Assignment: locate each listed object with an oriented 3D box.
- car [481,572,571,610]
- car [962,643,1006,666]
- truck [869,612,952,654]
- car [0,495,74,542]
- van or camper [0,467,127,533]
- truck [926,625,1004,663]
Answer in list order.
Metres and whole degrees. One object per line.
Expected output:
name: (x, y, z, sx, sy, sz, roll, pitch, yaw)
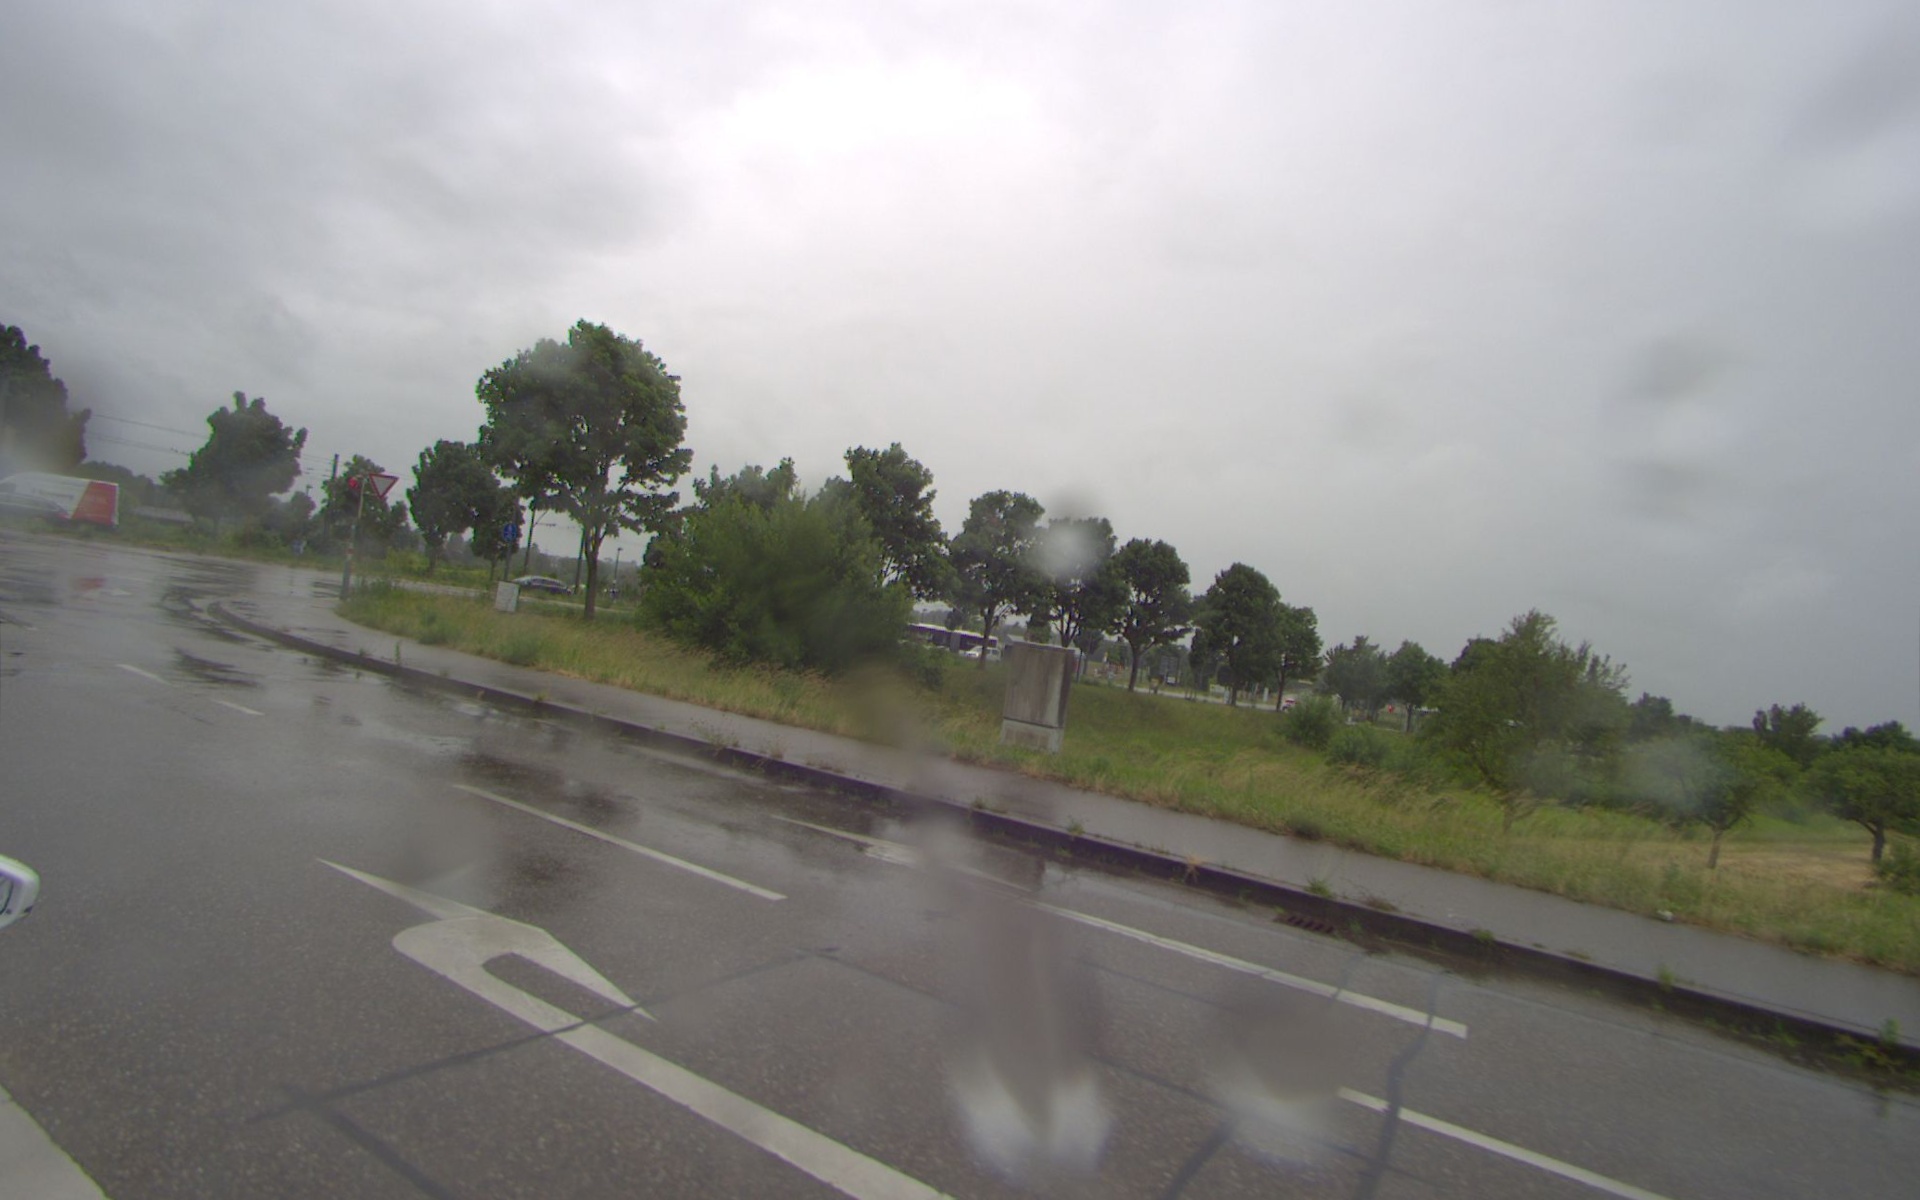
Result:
car: (-26.364, -0.523, 61.264, 1.793, 1.571, 4.676, 8, -2, 34)
car: (2.404, 5.397, 99.167, 1.794, 1.570, 4.677, 7, -4, 36)
truck: (-4.666, 3.221, 96.419, 2.615, 2.863, 8.828, 8, -2, 37)
car: (-40.661, -3.632, 42.357, 1.795, 1.571, 4.672, 8, -2, 37)
van or camper: (-42.884, -4.751, 47.826, 4.832, 2.194, 2.136, 10, -2, -40)
truck: (0.632, 4.573, 103.656, 2.615, 2.803, 9.331, 8, -3, 37)
